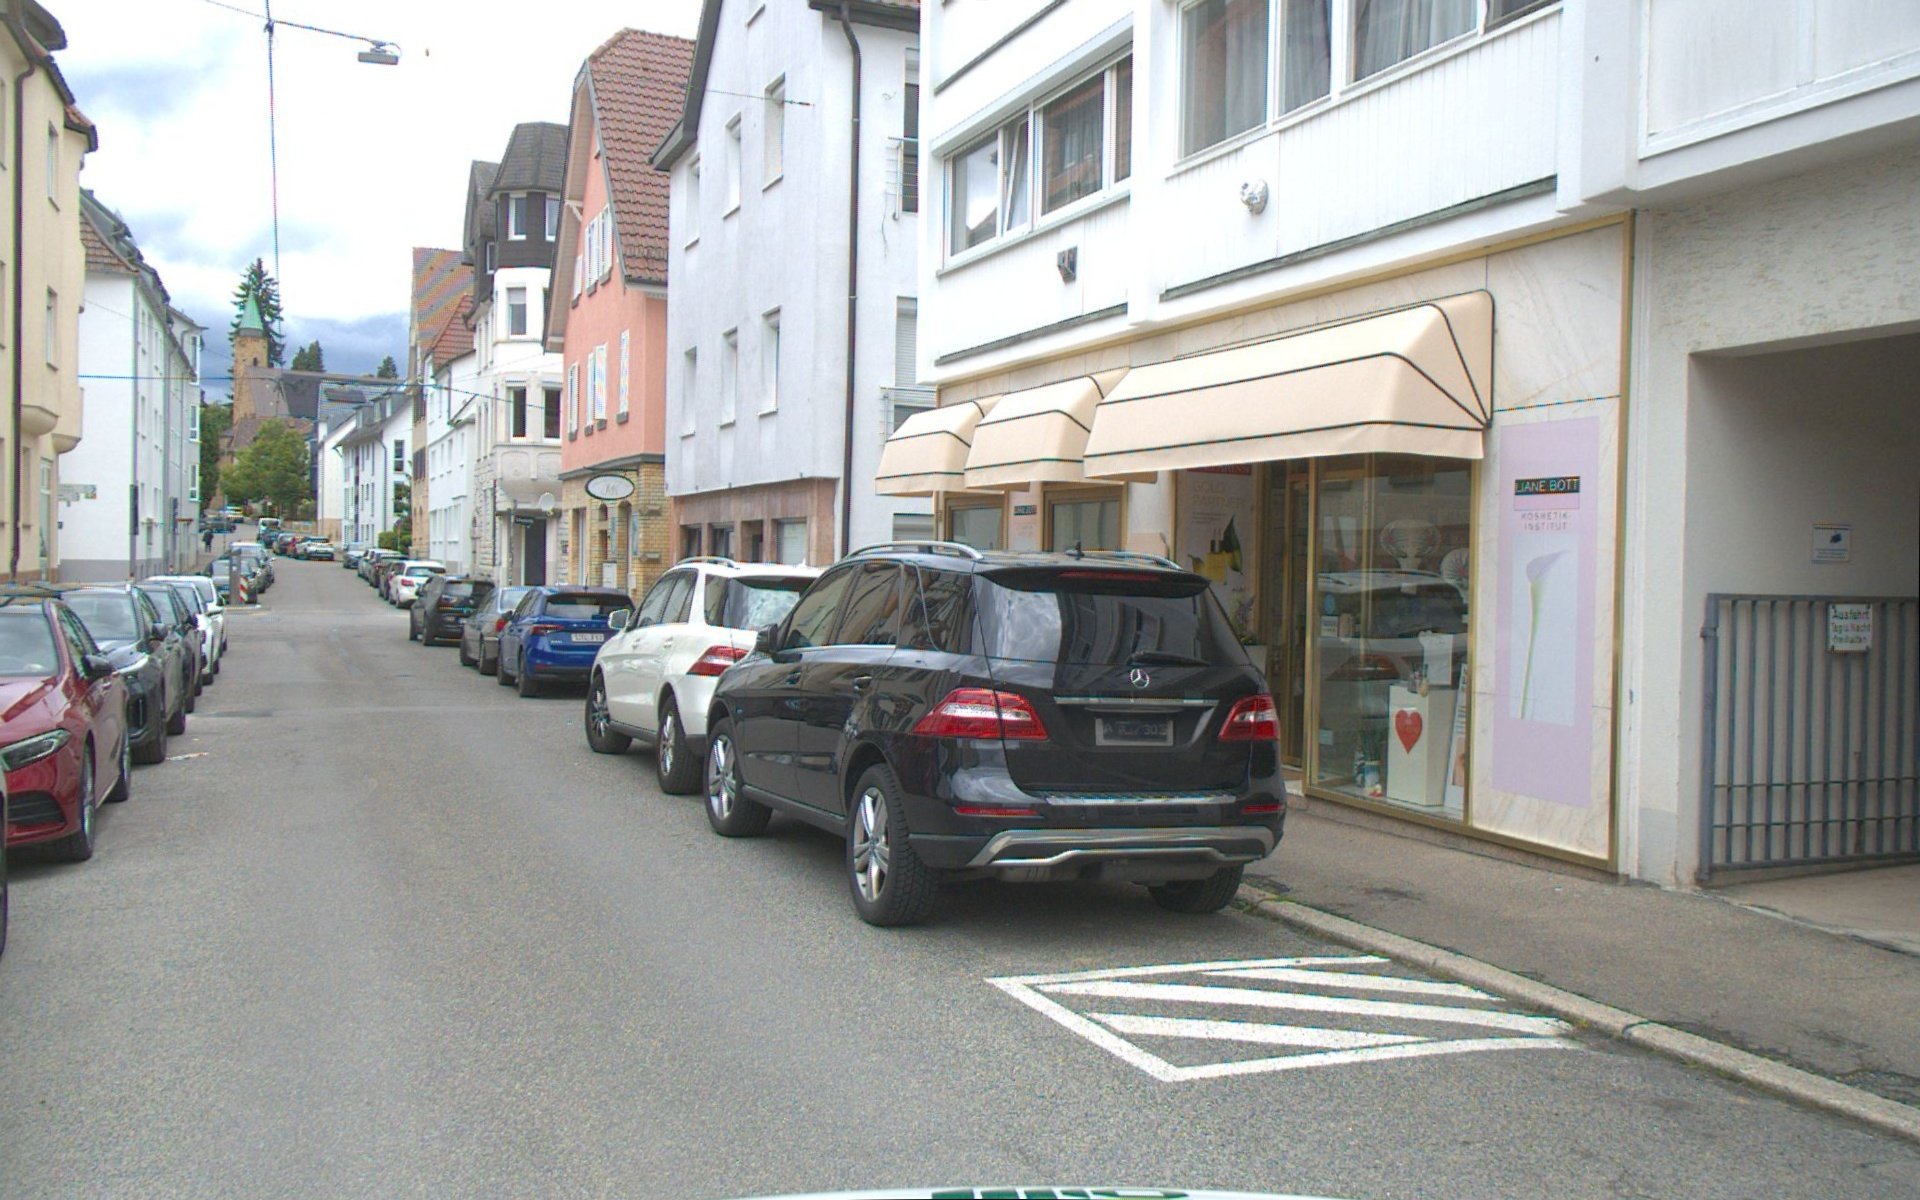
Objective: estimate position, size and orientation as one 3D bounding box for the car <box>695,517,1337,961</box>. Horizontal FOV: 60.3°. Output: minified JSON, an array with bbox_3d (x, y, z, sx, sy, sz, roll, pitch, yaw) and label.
[{"bbox_3d":[-0.001,0.598,9.148,1.914,1.811,4.338,2,-1,-22],"label":"car"}]

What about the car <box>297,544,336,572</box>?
[{"bbox_3d":[-42.387,-2.796,108.922,1.742,1.695,3.959,3,1,-31],"label":"car"}]

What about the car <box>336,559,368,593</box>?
[{"bbox_3d":[-33.862,-1.315,92.111,1.556,1.790,3.188,1,-1,-22],"label":"car"}]

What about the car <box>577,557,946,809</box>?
[{"bbox_3d":[-1.839,0.548,13.843,1.908,1.742,4.345,1,1,-23],"label":"car"}]

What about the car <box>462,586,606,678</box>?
[{"bbox_3d":[-7.220,0.503,27.785,1.725,1.415,4.002,1,0,-23],"label":"car"}]

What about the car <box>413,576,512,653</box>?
[{"bbox_3d":[-11.366,0.302,37.642,1.690,1.576,3.775,3,0,-23],"label":"car"}]

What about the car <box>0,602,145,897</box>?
[{"bbox_3d":[-6.076,0.771,10.012,1.745,1.442,4.142,-2,1,-23],"label":"car"}]

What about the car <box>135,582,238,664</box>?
[{"bbox_3d":[-14.553,0.399,31.245,1.564,1.447,3.377,-1,1,-22],"label":"car"}]

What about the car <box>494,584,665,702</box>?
[{"bbox_3d":[-5.380,0.539,23.064,1.750,1.501,3.757,1,0,-22],"label":"car"}]

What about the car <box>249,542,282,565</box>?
[{"bbox_3d":[-55.907,-3.746,133.131,1.870,1.632,3.676,3,0,-31],"label":"car"}]

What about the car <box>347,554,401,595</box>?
[{"bbox_3d":[-24.861,-1.095,70.116,1.707,1.601,3.802,1,2,-26],"label":"car"}]

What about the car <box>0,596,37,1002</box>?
[{"bbox_3d":[-4.017,0.761,4.970,1.770,1.486,4.263,-2,1,-24],"label":"car"}]

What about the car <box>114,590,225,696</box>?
[{"bbox_3d":[-11.544,0.569,24.299,1.265,1.382,3.778,-1,1,-23],"label":"car"}]

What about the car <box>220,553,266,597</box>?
[{"bbox_3d":[-27.212,-0.957,62.803,1.519,1.542,3.354,3,1,-23],"label":"car"}]

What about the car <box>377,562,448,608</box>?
[{"bbox_3d":[-20.295,-0.567,61.200,1.931,1.602,3.966,1,0,-27],"label":"car"}]

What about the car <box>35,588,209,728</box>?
[{"bbox_3d":[-9.862,0.608,19.682,1.585,1.449,3.826,-1,1,-23],"label":"car"}]

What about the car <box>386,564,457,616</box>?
[{"bbox_3d":[-18.400,-0.360,56.443,1.745,1.552,3.870,1,2,-27],"label":"car"}]

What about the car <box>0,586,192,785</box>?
[{"bbox_3d":[-8.013,0.665,14.883,1.744,1.521,3.955,-2,1,-22],"label":"car"}]

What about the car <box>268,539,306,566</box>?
[{"bbox_3d":[-48.156,-3.403,118.313,1.870,1.674,3.932,3,1,-31],"label":"car"}]

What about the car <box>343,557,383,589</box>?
[{"bbox_3d":[-27.097,-1.228,75.002,1.391,1.328,2.878,1,2,-26],"label":"car"}]

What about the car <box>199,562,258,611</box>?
[{"bbox_3d":[-24.252,-0.463,54.906,1.651,1.490,3.972,2,1,-23],"label":"car"}]

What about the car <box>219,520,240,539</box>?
[{"bbox_3d":[-78.681,-7.582,178.090,1.800,1.956,3.717,3,1,-28],"label":"car"}]
